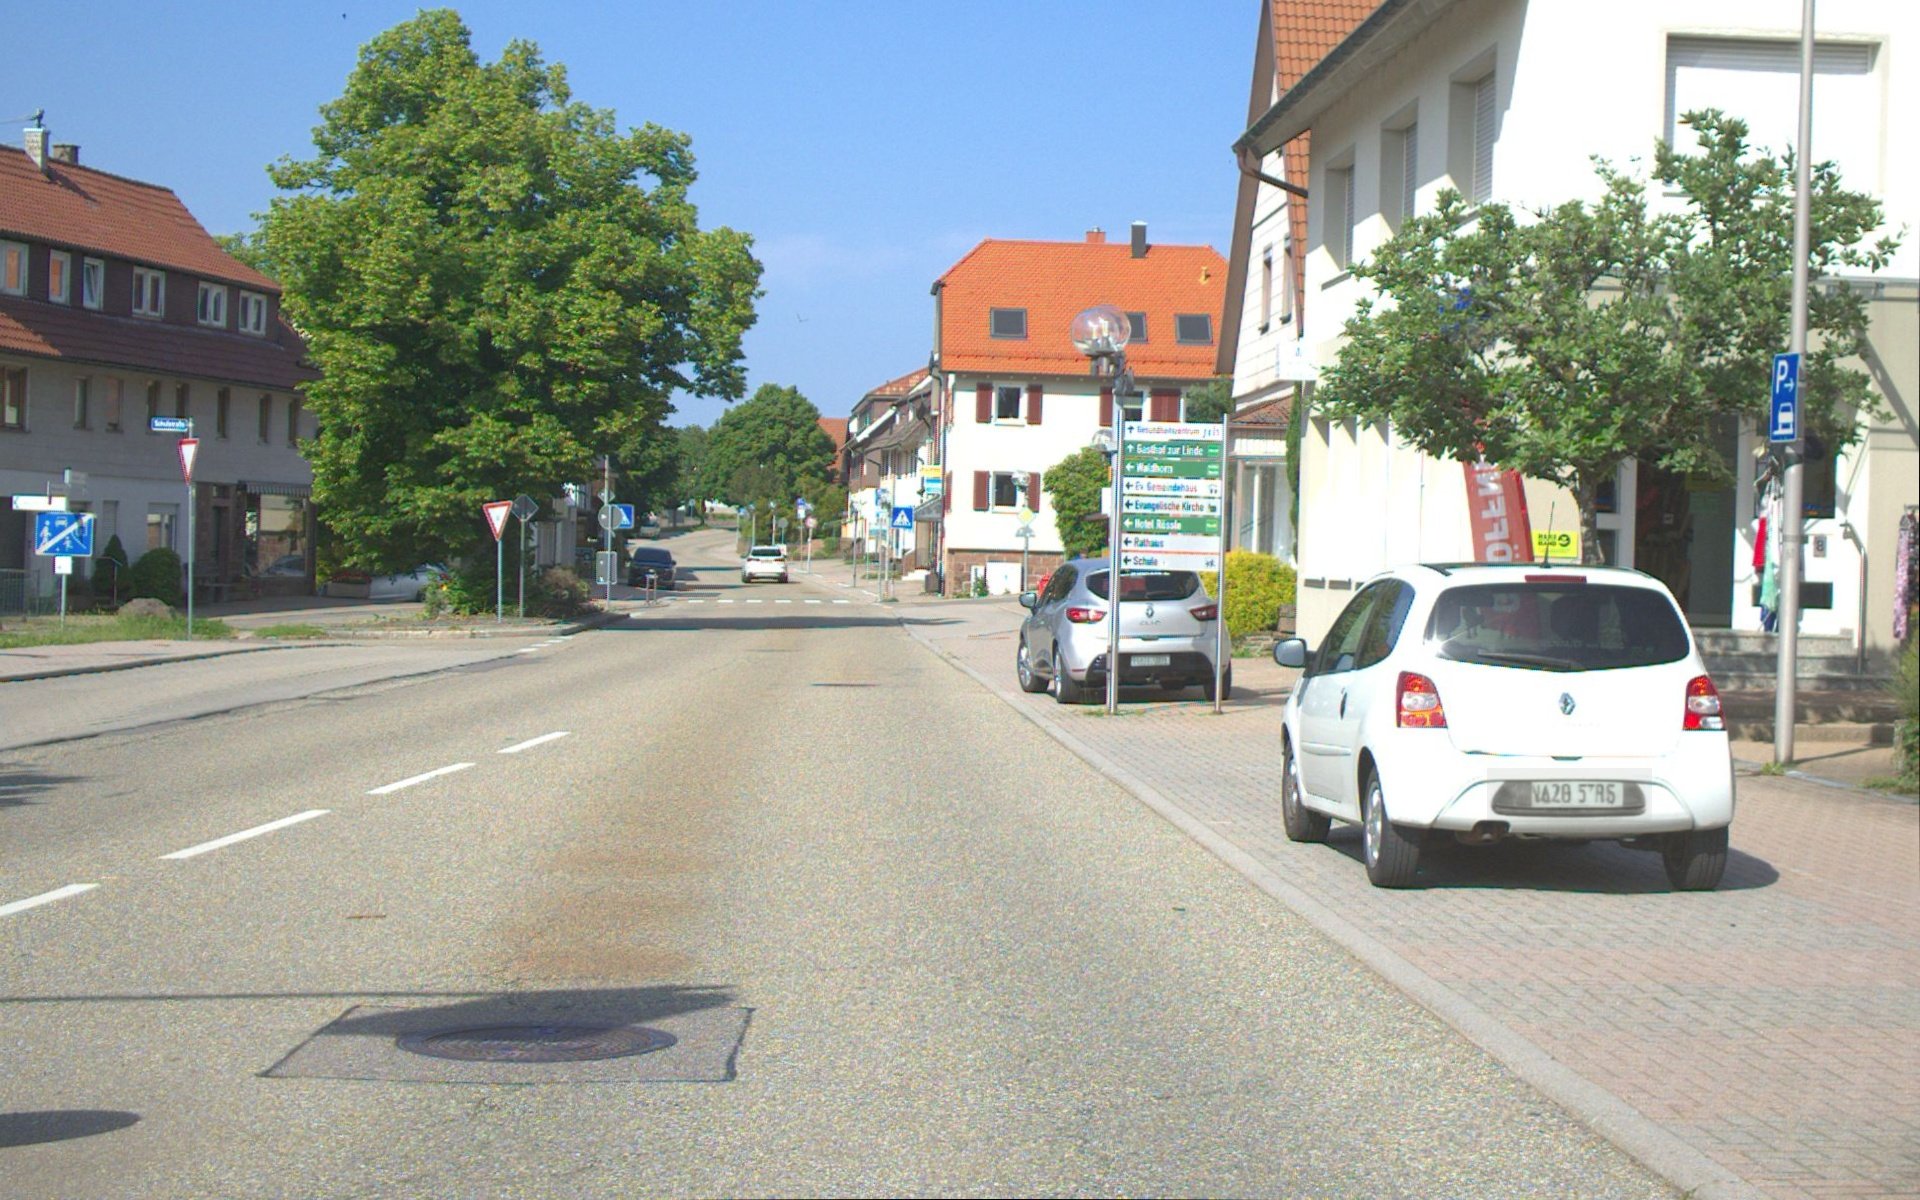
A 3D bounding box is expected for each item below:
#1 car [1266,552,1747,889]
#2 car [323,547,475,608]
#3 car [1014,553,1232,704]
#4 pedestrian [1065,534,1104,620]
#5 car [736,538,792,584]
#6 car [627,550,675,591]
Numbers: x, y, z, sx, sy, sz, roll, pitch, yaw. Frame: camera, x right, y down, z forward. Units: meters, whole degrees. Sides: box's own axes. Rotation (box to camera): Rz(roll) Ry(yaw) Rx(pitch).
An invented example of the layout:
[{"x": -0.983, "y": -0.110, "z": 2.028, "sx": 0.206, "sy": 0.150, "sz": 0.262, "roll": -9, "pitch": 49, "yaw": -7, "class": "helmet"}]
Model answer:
[{"x": 2.547, "y": 0.502, "z": 16.824, "sx": 1.760, "sy": 1.418, "sz": 3.634, "roll": -1, "pitch": 1, "yaw": 0, "class": "car"}, {"x": -15.502, "y": -0.617, "z": 95.008, "sx": 3.760, "sy": 1.450, "sz": 1.816, "roll": -1, "pitch": -4, "yaw": 10, "class": "car"}, {"x": 1.609, "y": 0.247, "z": 35.222, "sx": 1.635, "sy": 1.415, "sz": 3.936, "roll": -1, "pitch": 1, "yaw": -6, "class": "car"}, {"x": 2.591, "y": -0.478, "z": 71.646, "sx": 0.799, "sy": 1.778, "sz": 0.979, "roll": 0, "pitch": 1, "yaw": 3, "class": "pedestrian"}, {"x": -9.117, "y": -1.818, "z": 159.635, "sx": 2.495, "sy": 2.007, "sz": 4.305, "roll": -2, "pitch": 1, "yaw": -3, "class": "car"}, {"x": -12.659, "y": -1.216, "z": 141.044, "sx": 1.672, "sy": 1.528, "sz": 3.536, "roll": 5, "pitch": 1, "yaw": -3, "class": "car"}]
